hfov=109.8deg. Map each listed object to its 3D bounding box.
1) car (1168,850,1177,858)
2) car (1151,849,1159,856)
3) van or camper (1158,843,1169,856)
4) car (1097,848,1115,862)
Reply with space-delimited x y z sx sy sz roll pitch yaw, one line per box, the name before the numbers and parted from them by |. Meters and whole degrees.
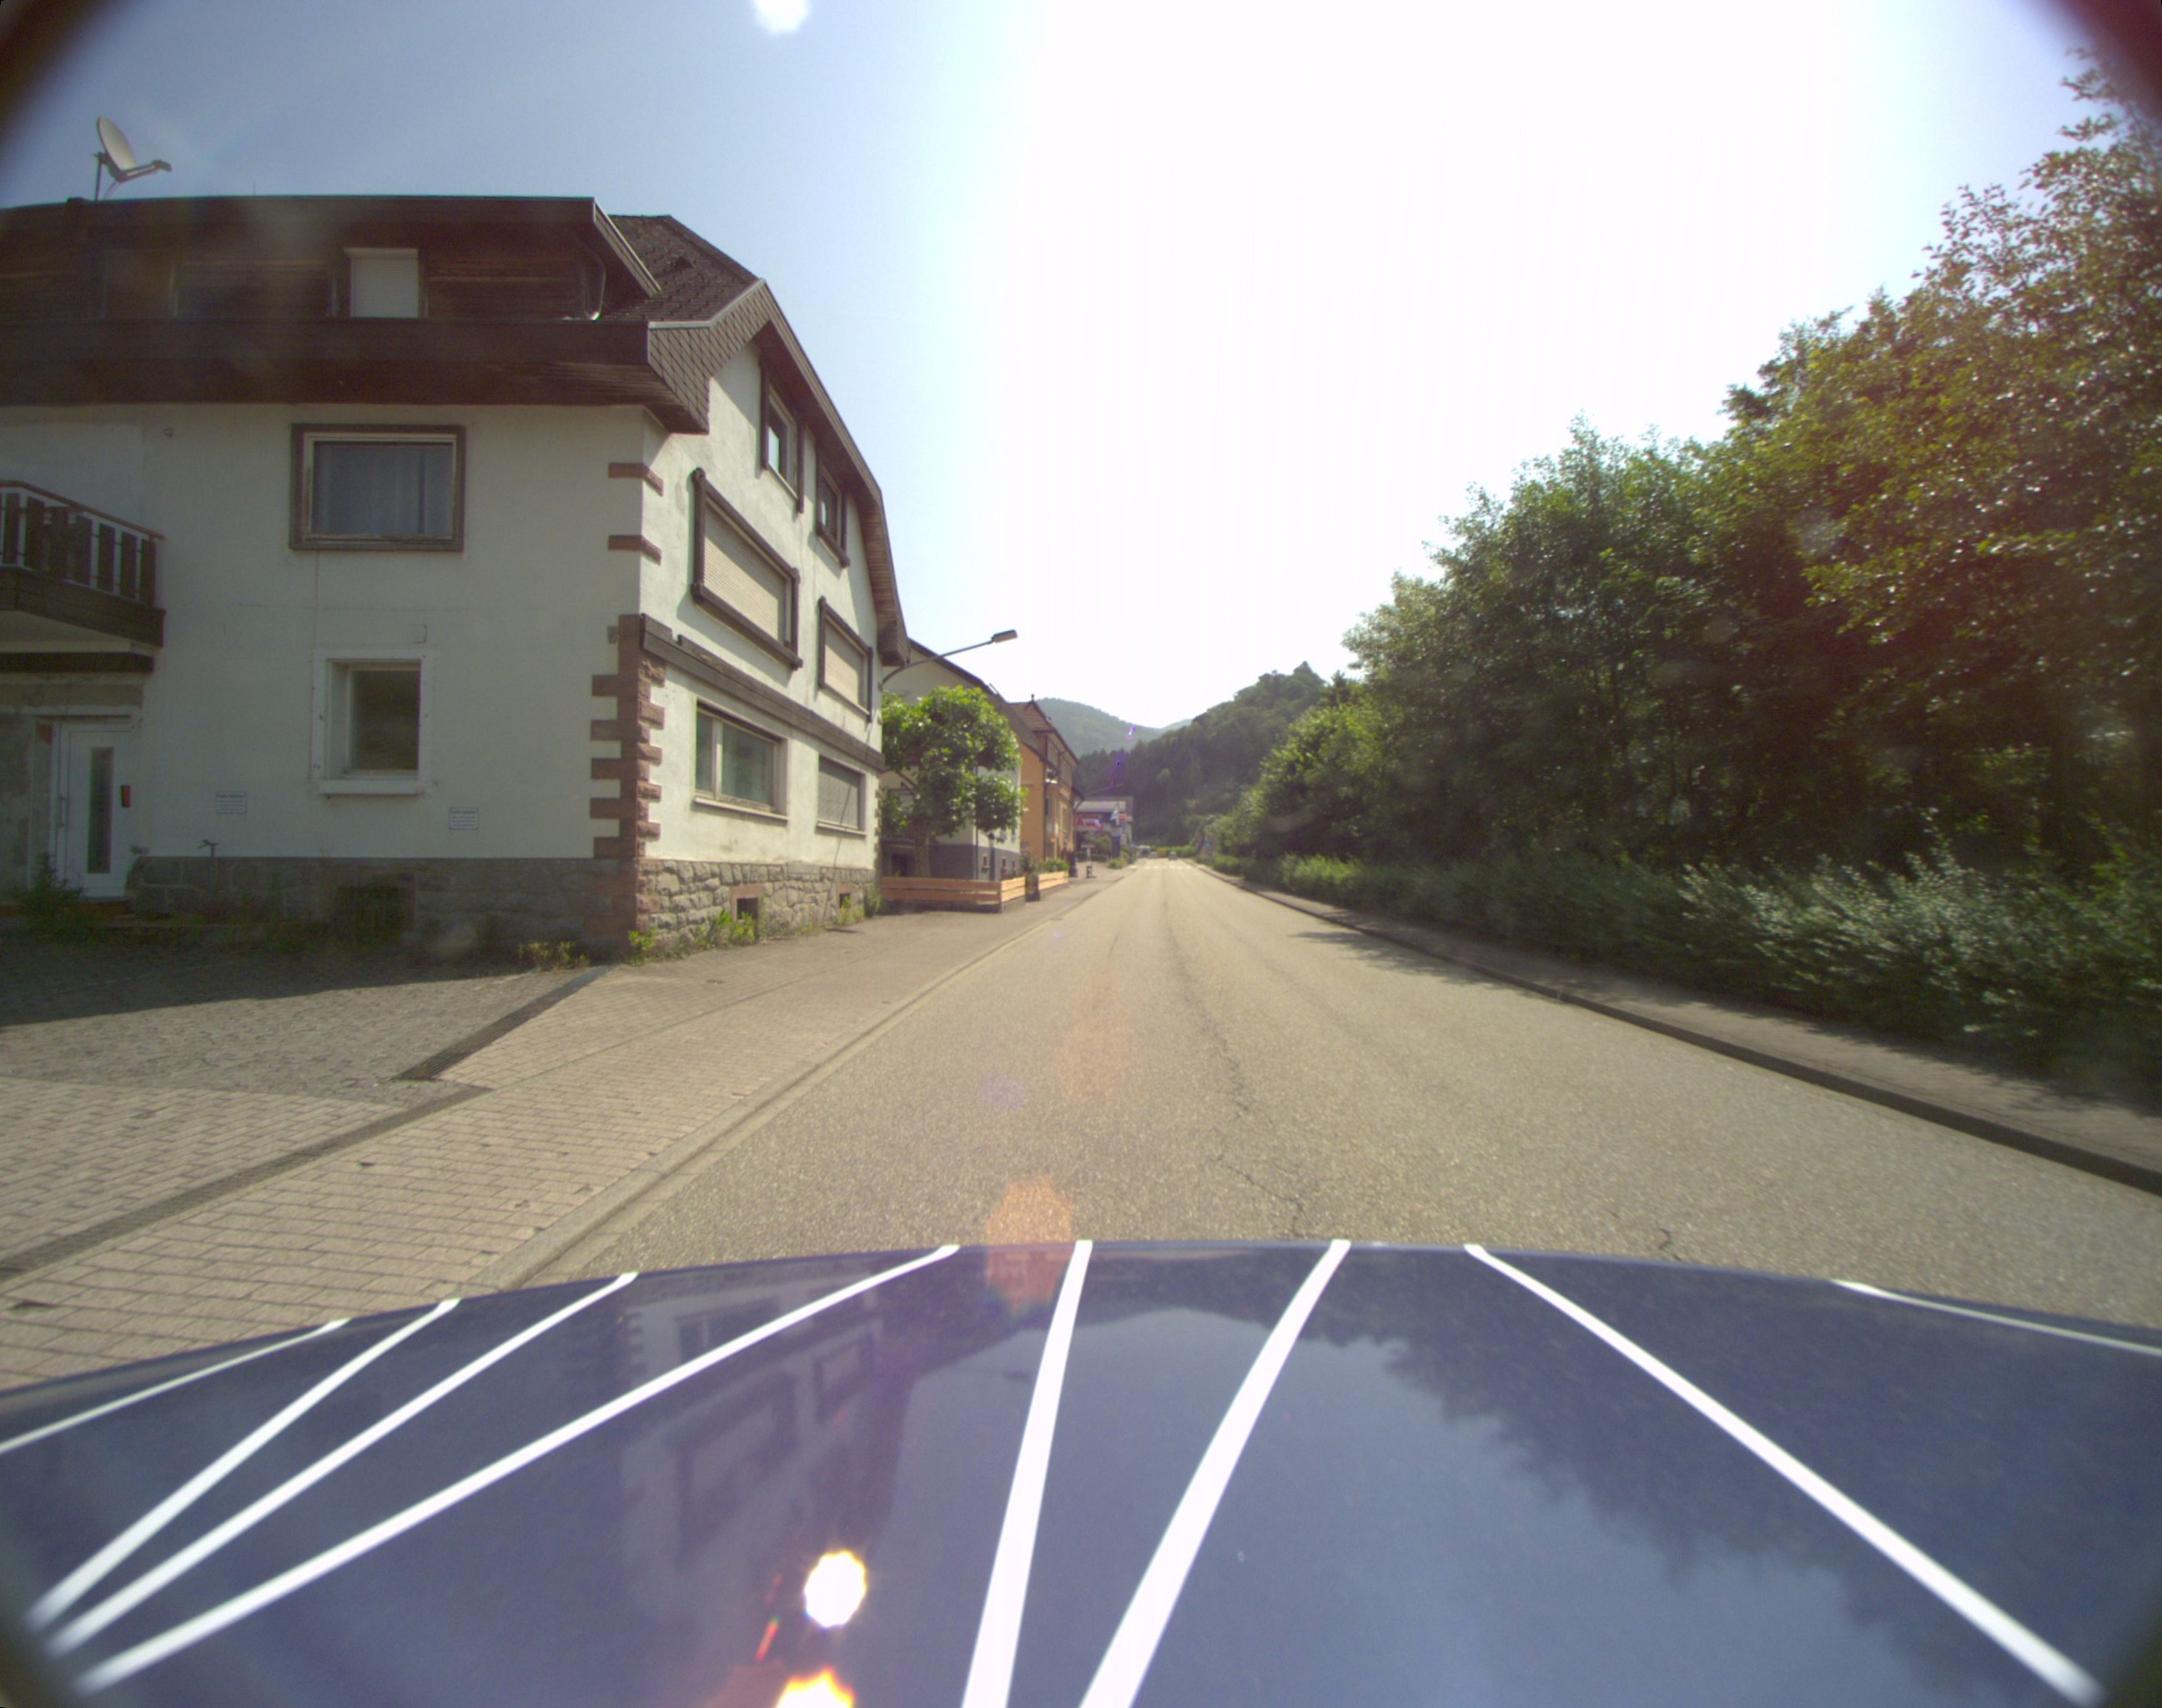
car | 17.694 0.072 147.257 1.593 1.474 3.759 2 0 8
car | 16.330 -0.287 166.968 1.608 1.398 3.828 3 1 6
van or camper | 19.191 -0.955 176.205 2.363 2.936 8.055 2 0 7
car | 3.107 0.126 93.295 1.695 1.568 3.913 4 1 7
